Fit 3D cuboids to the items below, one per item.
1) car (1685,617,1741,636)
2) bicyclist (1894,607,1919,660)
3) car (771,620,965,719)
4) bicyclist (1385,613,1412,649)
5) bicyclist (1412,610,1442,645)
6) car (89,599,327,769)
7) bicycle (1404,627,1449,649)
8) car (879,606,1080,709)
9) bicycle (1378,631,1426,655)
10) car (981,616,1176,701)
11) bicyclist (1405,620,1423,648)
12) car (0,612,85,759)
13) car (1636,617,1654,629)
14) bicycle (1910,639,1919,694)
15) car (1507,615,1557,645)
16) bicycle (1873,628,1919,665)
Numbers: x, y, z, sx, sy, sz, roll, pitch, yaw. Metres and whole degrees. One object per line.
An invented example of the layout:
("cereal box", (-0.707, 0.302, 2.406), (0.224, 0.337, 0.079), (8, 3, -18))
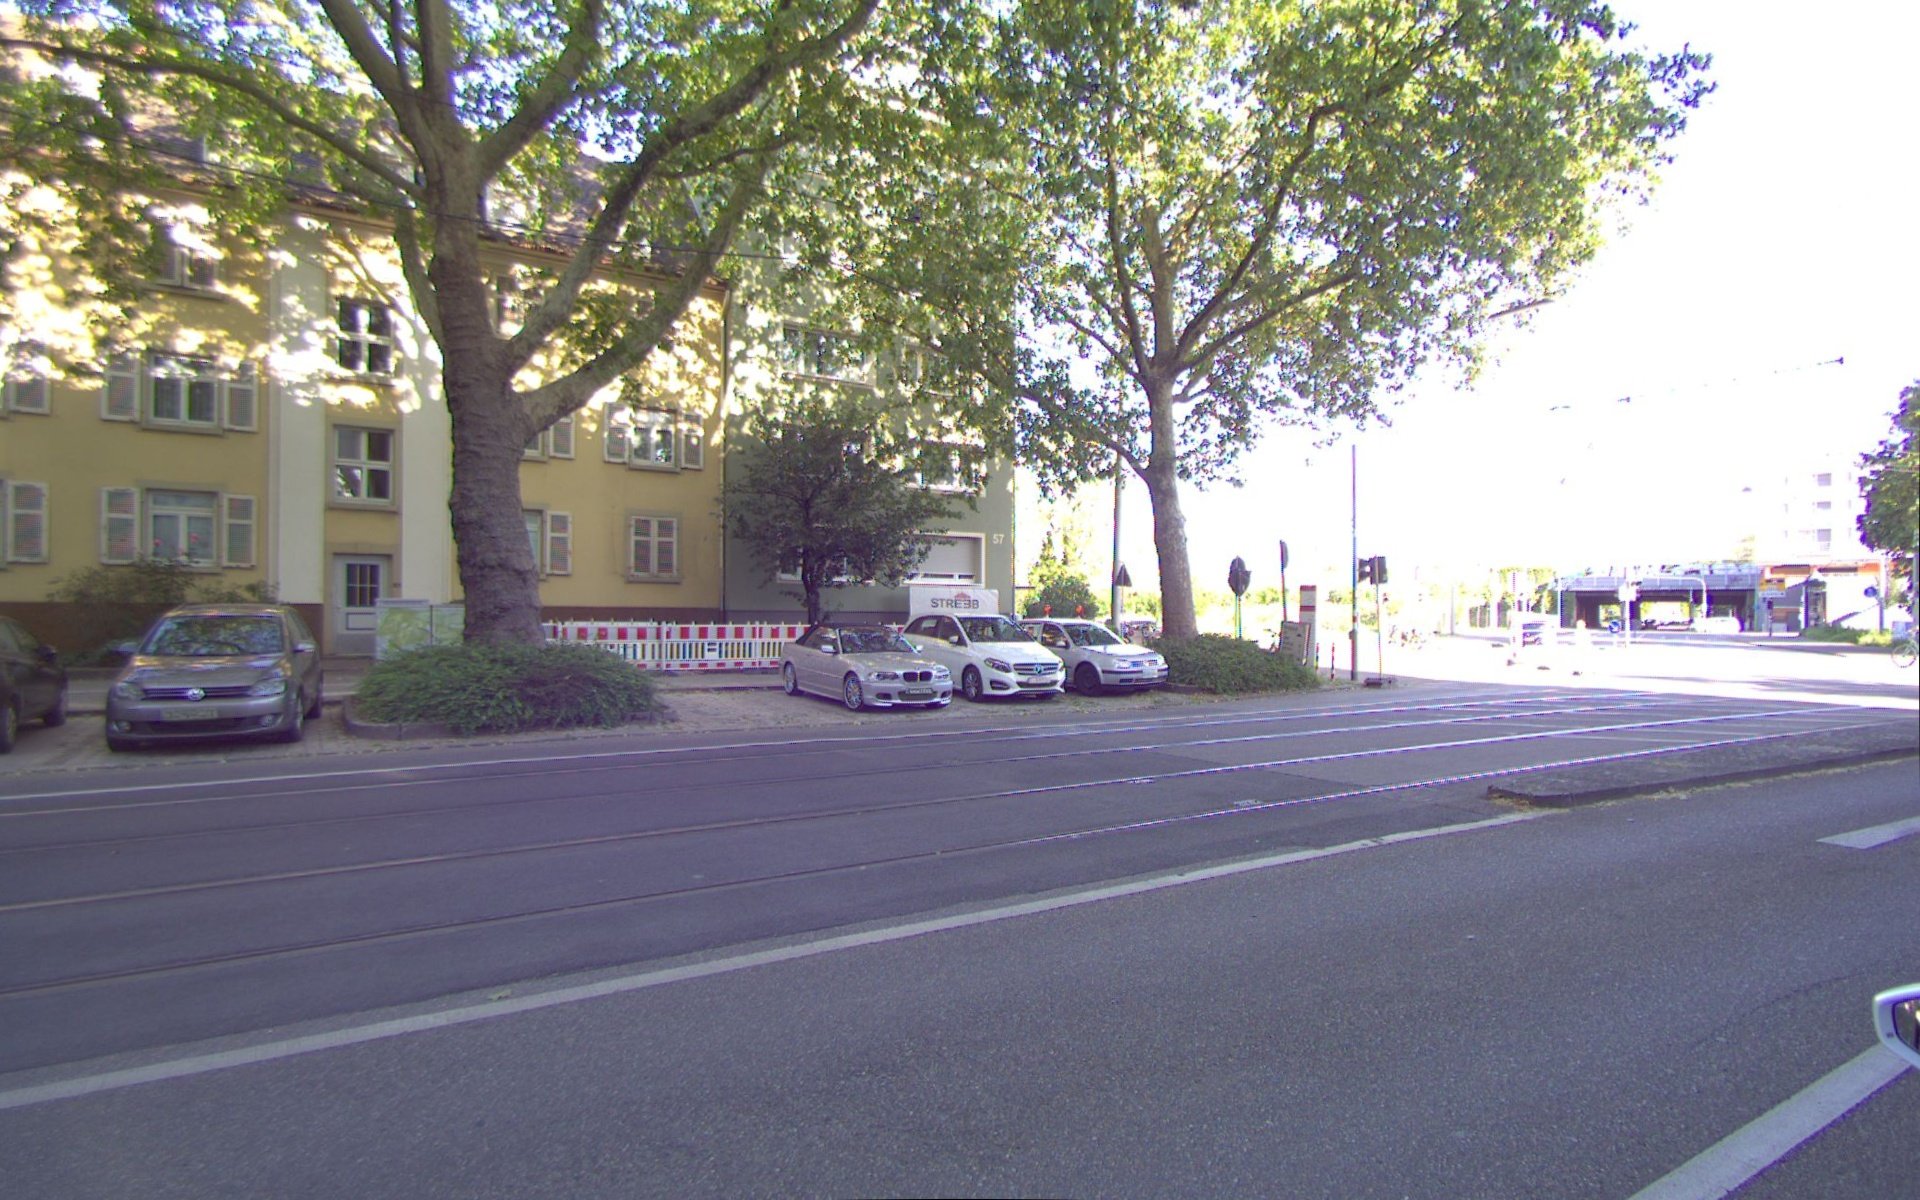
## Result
("car", (74.264, 2.608, 99.080), (4.103, 1.829, 1.738), (0, -1, 9))
("bicyclist", (29.591, 1.031, 31.030), (0.637, 1.616, 0.863), (0, -1, -8))
("car", (-1.728, 1.096, 17.439), (1.708, 1.386, 4.219), (1, 0, -31))
("bicyclist", (21.679, 1.531, 49.652), (0.862, 1.730, 0.925), (1, -1, -22))
("bicyclist", (21.389, 1.258, 46.044), (0.786, 1.591, 1.009), (0, -1, -18))
("car", (-9.036, 0.861, 12.430), (1.793, 1.627, 4.169), (1, 1, -29))
("bicycle", (21.385, 1.737, 46.083), (0.662, 0.997, 2.057), (1, -1, -18))
("car", (0.222, 0.995, 19.483), (1.777, 1.640, 4.587), (1, 1, -30))
("bicycle", (21.714, 2.099, 49.423), (0.789, 1.098, 2.289), (1, -1, -21))
("car", (2.302, 1.110, 20.828), (1.656, 1.448, 4.490), (1, 0, -30))
("bicyclist", (25.878, 1.955, 57.300), (0.826, 1.584, 0.630), (1, -1, -39))
("car", (-11.393, 0.882, 11.302), (1.723, 1.448, 3.545), (1, 0, -31))
("car", (104.255, 3.463, 152.877), (2.183, 1.847, 4.134), (0, -1, 34))
("bicycle", (19.627, 1.298, 19.104), (2.163, 1.047, 0.831), (-1, -1, 38))
("car", (32.435, 1.685, 56.942), (1.803, 1.539, 3.876), (2, 1, 40))
("bicycle", (29.570, 1.435, 31.092), (0.581, 1.108, 2.059), (0, -1, -8))
